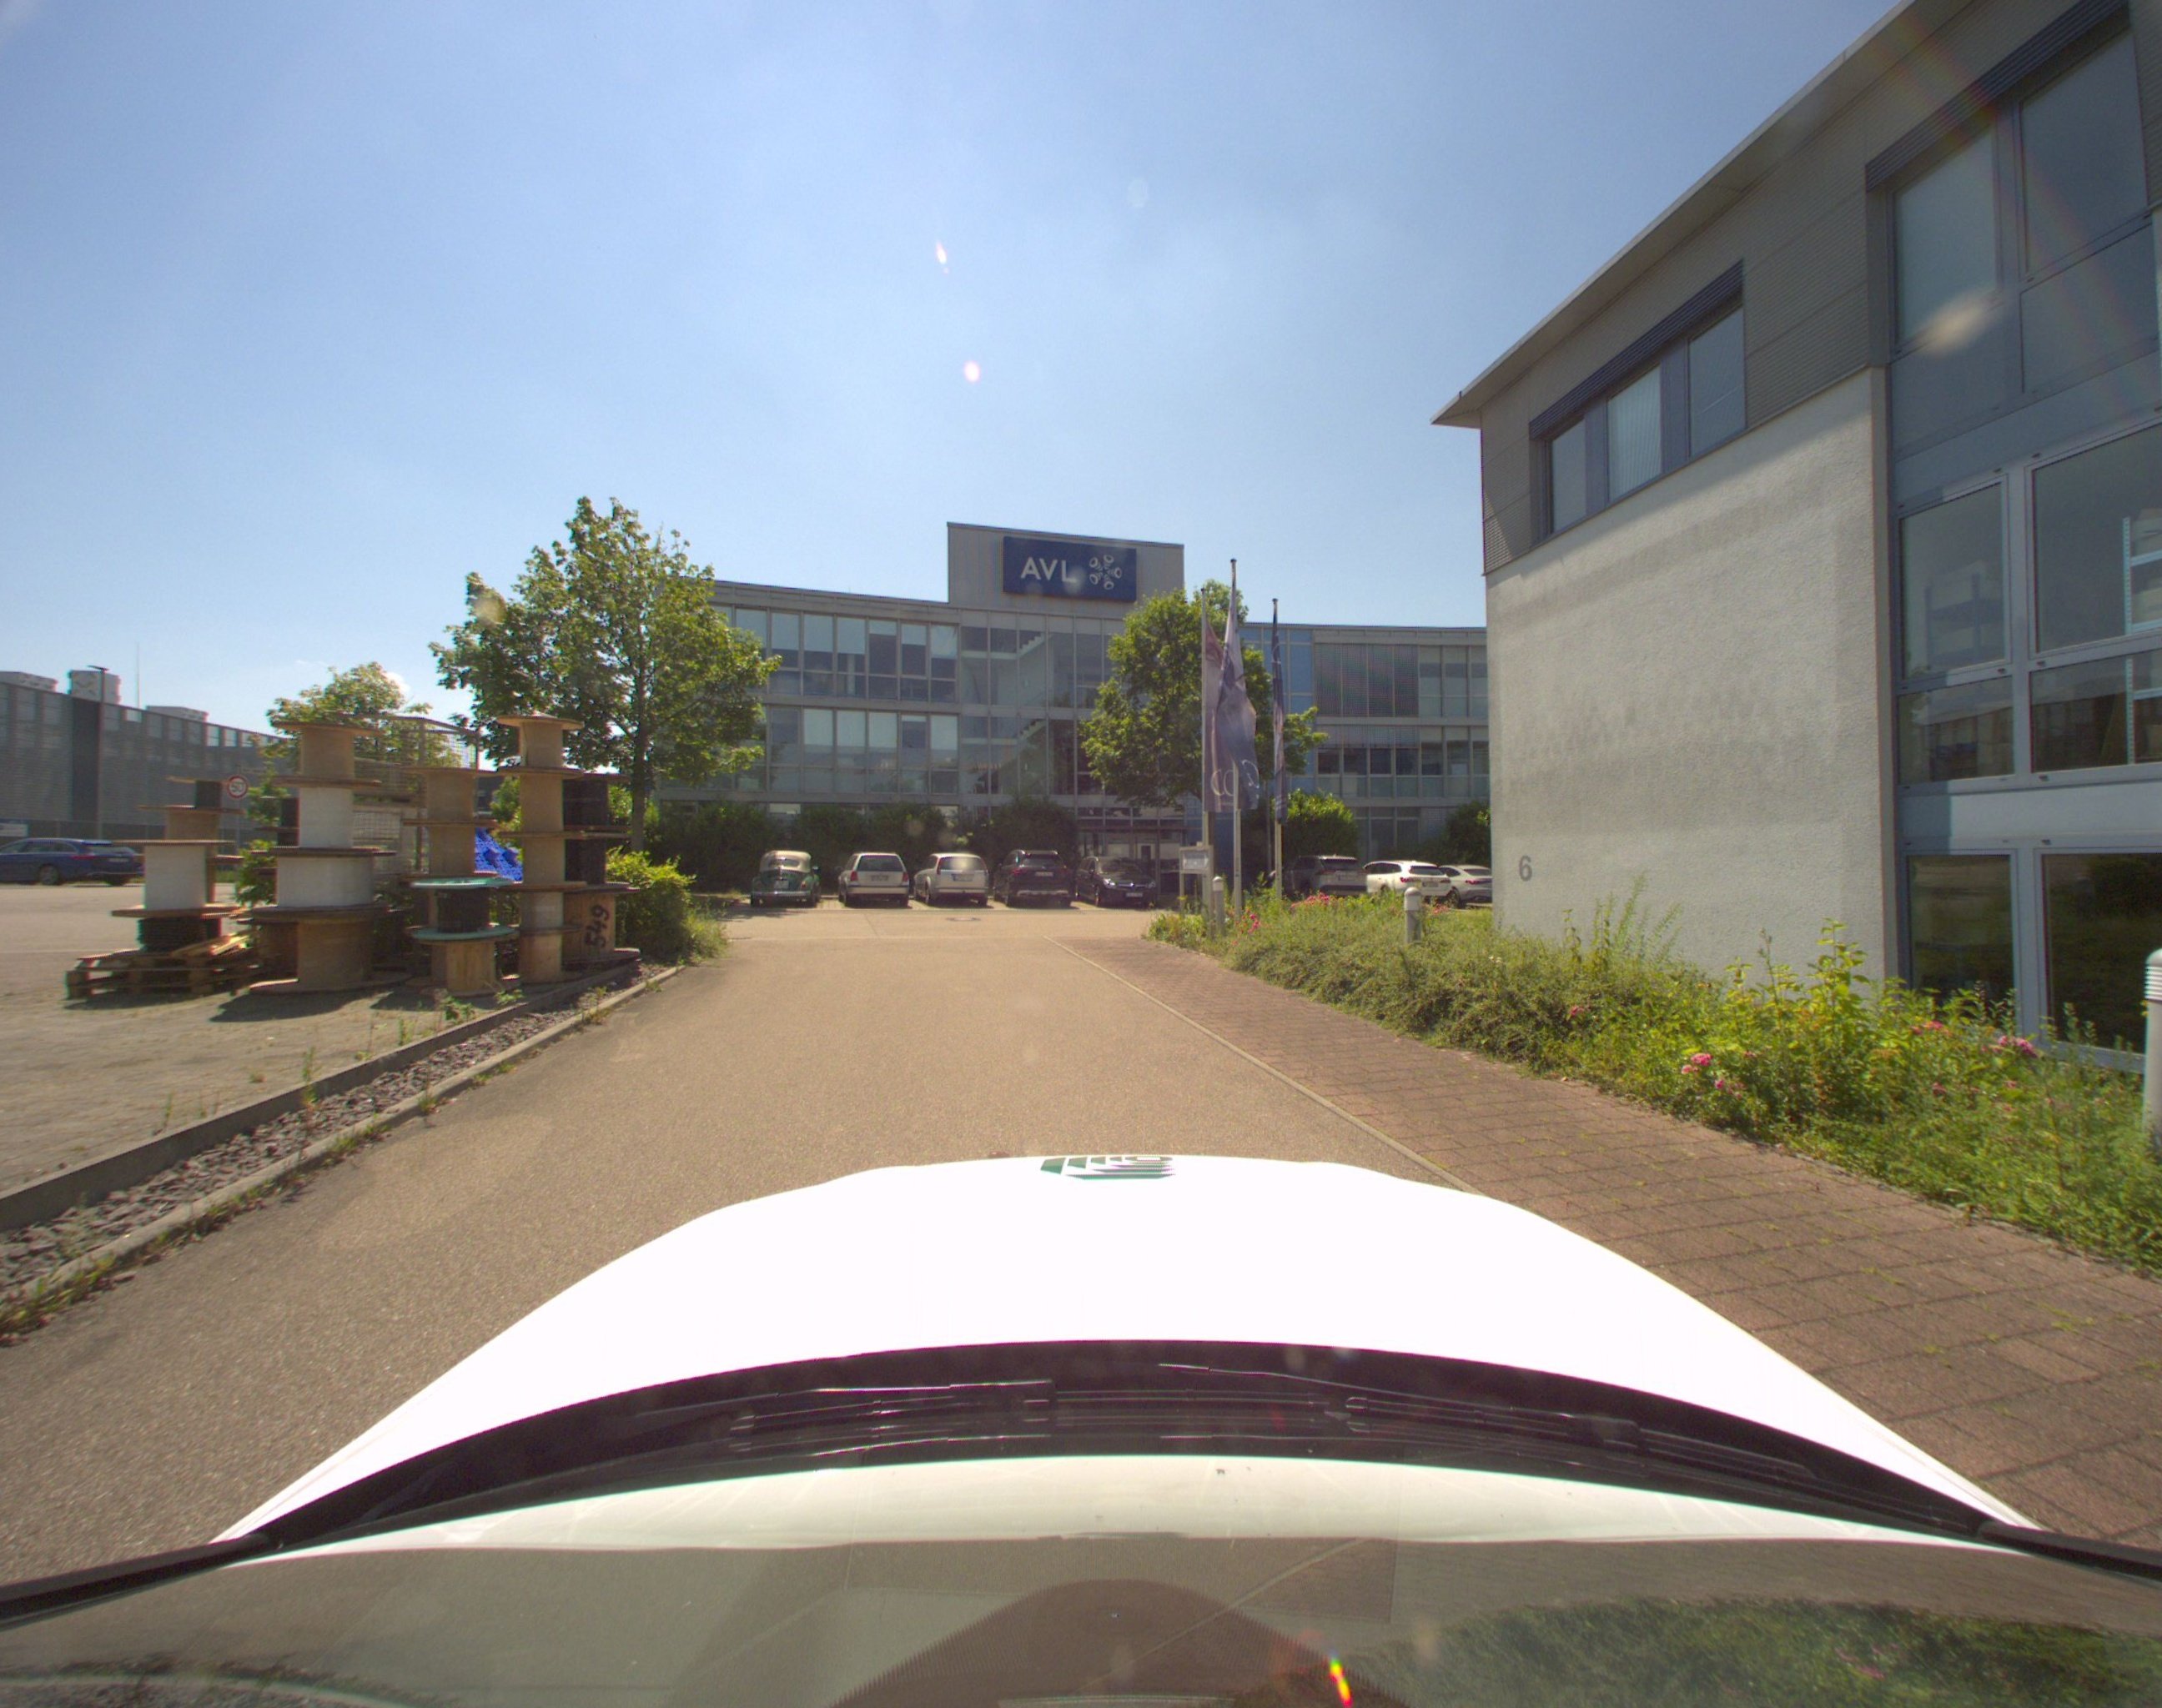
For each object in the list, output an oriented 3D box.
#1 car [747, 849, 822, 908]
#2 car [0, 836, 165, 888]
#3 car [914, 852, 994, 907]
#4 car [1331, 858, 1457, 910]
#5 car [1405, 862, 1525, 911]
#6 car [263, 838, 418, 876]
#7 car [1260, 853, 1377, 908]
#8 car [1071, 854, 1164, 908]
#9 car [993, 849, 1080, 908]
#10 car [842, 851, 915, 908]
[{"bbox_3d":[-8.022,0.609,22.300,1.544,1.449,3.636,1,0,-14],"label":"car"},{"bbox_3d":[-31.754,0.225,25.231,4.484,1.491,2.001,1,0,1],"label":"car"},{"bbox_3d":[-3.855,0.704,24.230,1.770,1.449,3.632,1,0,-18],"label":"car"},{"bbox_3d":[10.228,0.934,26.966,1.738,1.491,4.319,2,0,-14],"label":"car"},{"bbox_3d":[12.798,1.032,27.479,1.732,1.429,4.333,2,0,-4],"label":"car"},{"bbox_3d":[-31.767,0.118,35.039,4.821,1.491,2.001,1,0,1],"label":"car"},{"bbox_3d":[7.690,0.787,26.824,1.822,1.619,4.319,0,0,-14],"label":"car"},{"bbox_3d":[1.015,0.773,25.226,1.772,1.482,4.239,0,0,-14],"label":"car"},{"bbox_3d":[-1.446,0.675,24.744,1.929,1.610,3.968,1,0,-14],"label":"car"},{"bbox_3d":[-5.805,0.667,23.117,1.736,1.449,3.632,1,0,-18],"label":"car"}]
